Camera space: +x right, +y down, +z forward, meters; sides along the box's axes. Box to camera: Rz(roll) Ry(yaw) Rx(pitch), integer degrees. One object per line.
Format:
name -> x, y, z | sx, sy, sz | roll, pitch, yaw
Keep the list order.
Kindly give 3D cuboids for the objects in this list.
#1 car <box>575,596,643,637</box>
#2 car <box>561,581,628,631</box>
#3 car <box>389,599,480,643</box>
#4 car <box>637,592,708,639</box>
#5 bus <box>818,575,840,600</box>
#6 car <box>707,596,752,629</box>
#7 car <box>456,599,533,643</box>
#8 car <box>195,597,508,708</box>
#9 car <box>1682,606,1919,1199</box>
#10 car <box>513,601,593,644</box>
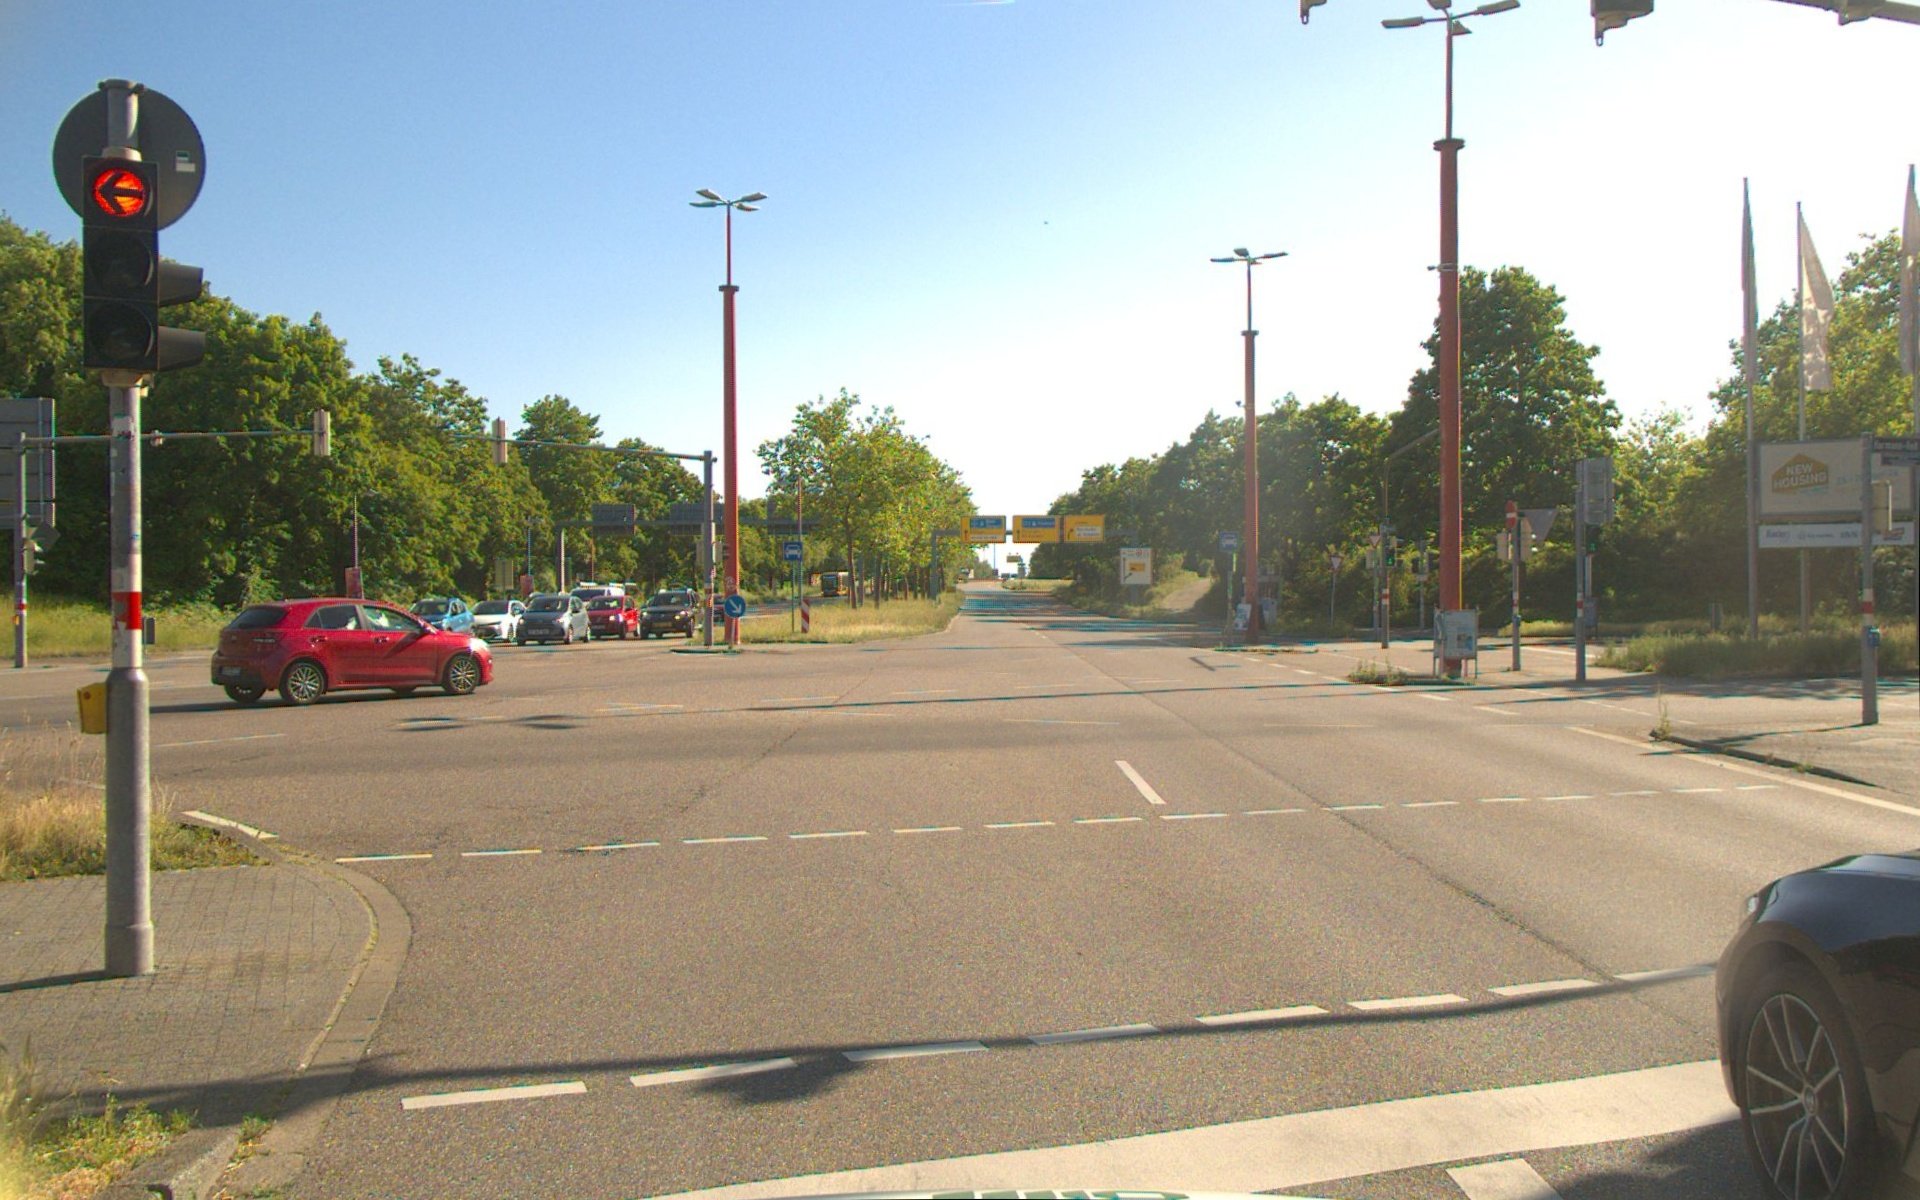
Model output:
car -> -12.279, 0.554, 58.044 | 1.704, 1.386, 3.611 | 0, 0, -2
car -> -15.550, 0.259, 70.646 | 1.855, 2.061, 5.221 | 0, 0, -2
car -> -16.054, 0.612, 50.673 | 1.704, 1.265, 3.611 | 0, 0, -2
car -> -9.779, 0.512, 56.573 | 1.782, 1.534, 3.999 | 0, 0, -1
bus -> -18.120, -1.734, 229.665 | 2.441, 3.295, 9.998 | 0, 0, -1
car -> -11.775, 0.613, 84.682 | 1.782, 1.657, 3.999 | 0, 0, -1
car -> -15.931, 0.702, 56.790 | 1.704, 1.436, 3.611 | 0, 0, -2
car -> -8.785, 0.702, 24.158 | 1.653, 1.460, 4.046 | 0, 0, 38
car -> 2.907, 0.733, 2.358 | 1.831, 1.422, 4.443 | 0, 0, 0
car -> -12.673, 0.670, 51.694 | 1.704, 1.265, 3.611 | 0, 0, -2
